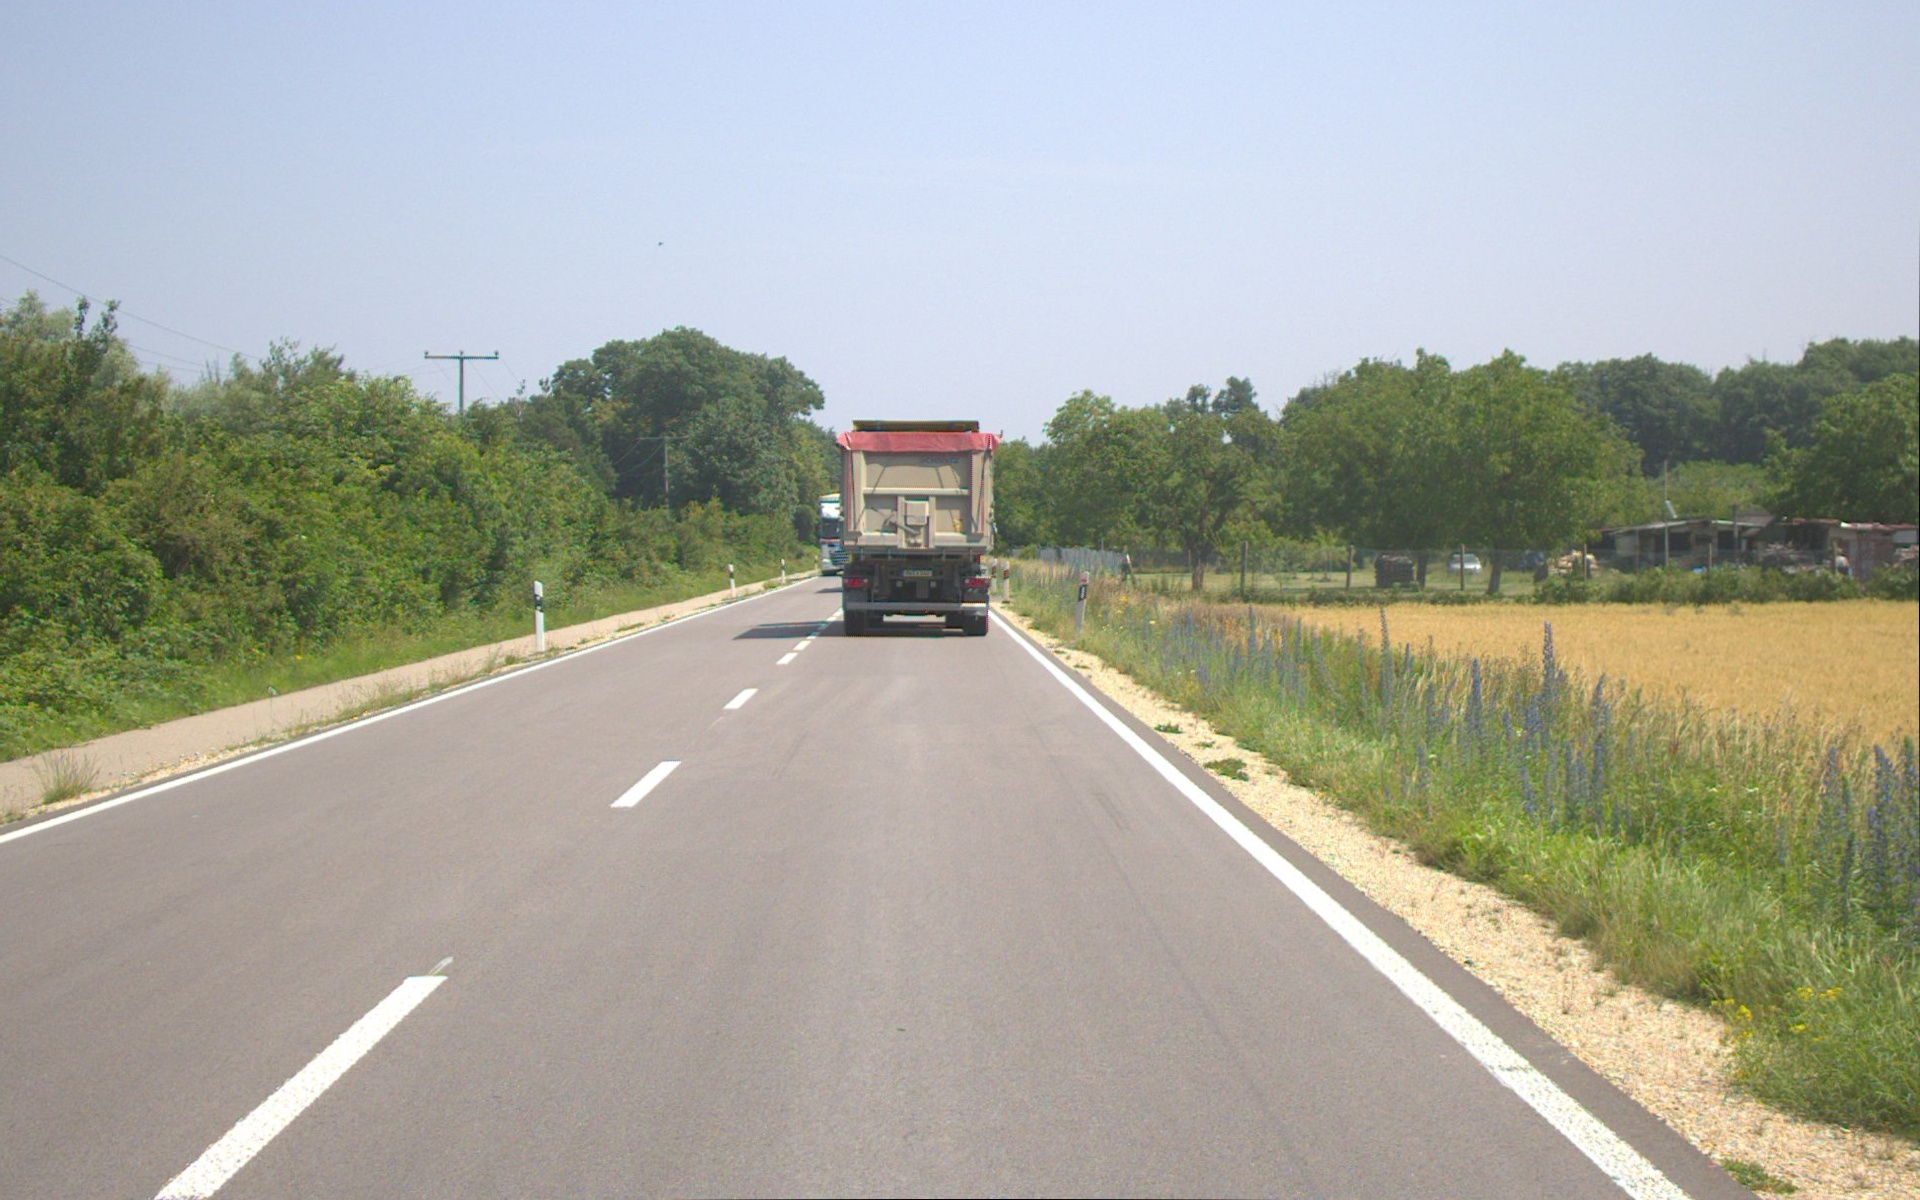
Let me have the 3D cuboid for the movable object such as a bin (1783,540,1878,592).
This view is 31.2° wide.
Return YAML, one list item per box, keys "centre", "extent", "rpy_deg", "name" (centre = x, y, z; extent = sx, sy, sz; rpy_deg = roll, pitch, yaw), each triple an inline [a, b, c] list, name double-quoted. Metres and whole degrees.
- centre: [25.486, -1.001, 100.744]
  extent: [1.570, 1.491, 3.660]
  rpy_deg: [0, 1, -5]
  name: "movable object such as a bin"

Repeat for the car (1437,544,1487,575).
- centre: [25.205, -2.044, 172.762]
  extent: [1.592, 1.481, 3.429]
  rpy_deg: [0, 2, -8]
  name: "car"

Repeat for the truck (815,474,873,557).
- centre: [-6.111, -4.451, 182.178]
  extent: [2.717, 4.251, 7.390]
  rpy_deg: [-2, 1, -1]
  name: "truck"

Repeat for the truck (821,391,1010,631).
- centre: [-0.811, -1.532, 62.437]
  extent: [3.009, 3.861, 12.210]
  rpy_deg: [1, 1, -1]
  name: "truck"
